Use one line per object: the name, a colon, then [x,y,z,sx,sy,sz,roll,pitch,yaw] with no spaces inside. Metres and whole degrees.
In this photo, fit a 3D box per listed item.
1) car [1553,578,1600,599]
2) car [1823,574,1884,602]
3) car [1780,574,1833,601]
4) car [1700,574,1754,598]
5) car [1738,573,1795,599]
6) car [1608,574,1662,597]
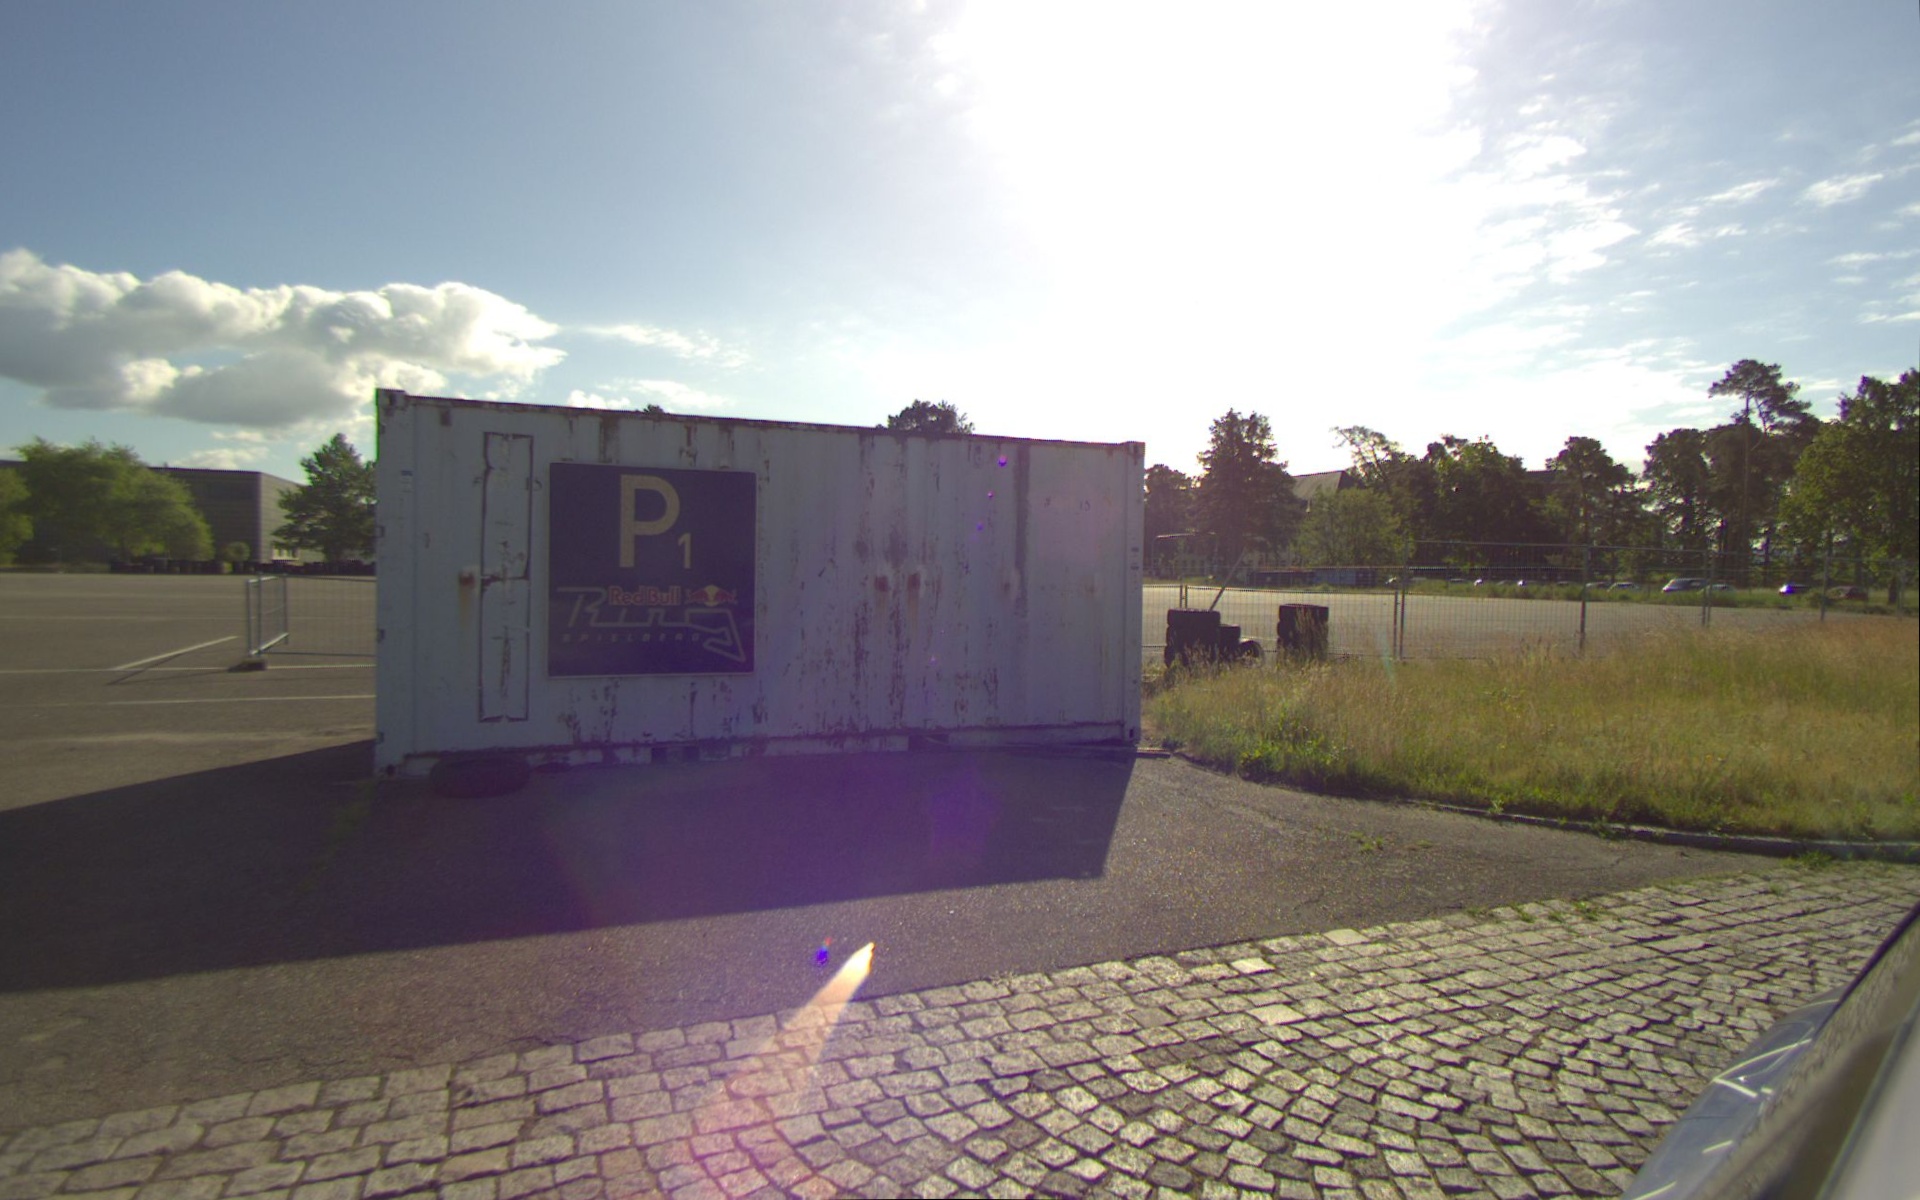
car: [60.278,-1.117,98.881,3.917,2.039,2.003,0,-1,-24]
car: [68.675,-0.924,77.820,3.917,2.038,2.004,0,2,-24]
car: [67.282,-1.010,80.451,3.920,2.038,2.002,0,2,-31]
car: [65.407,-1.222,86.331,3.917,1.972,2.004,0,2,-24]
car: [67.341,-1.179,84.517,3.916,2.038,2.004,0,2,-22]
car: [62.413,-1.331,93.552,3.916,2.039,2.004,0,-1,-15]
